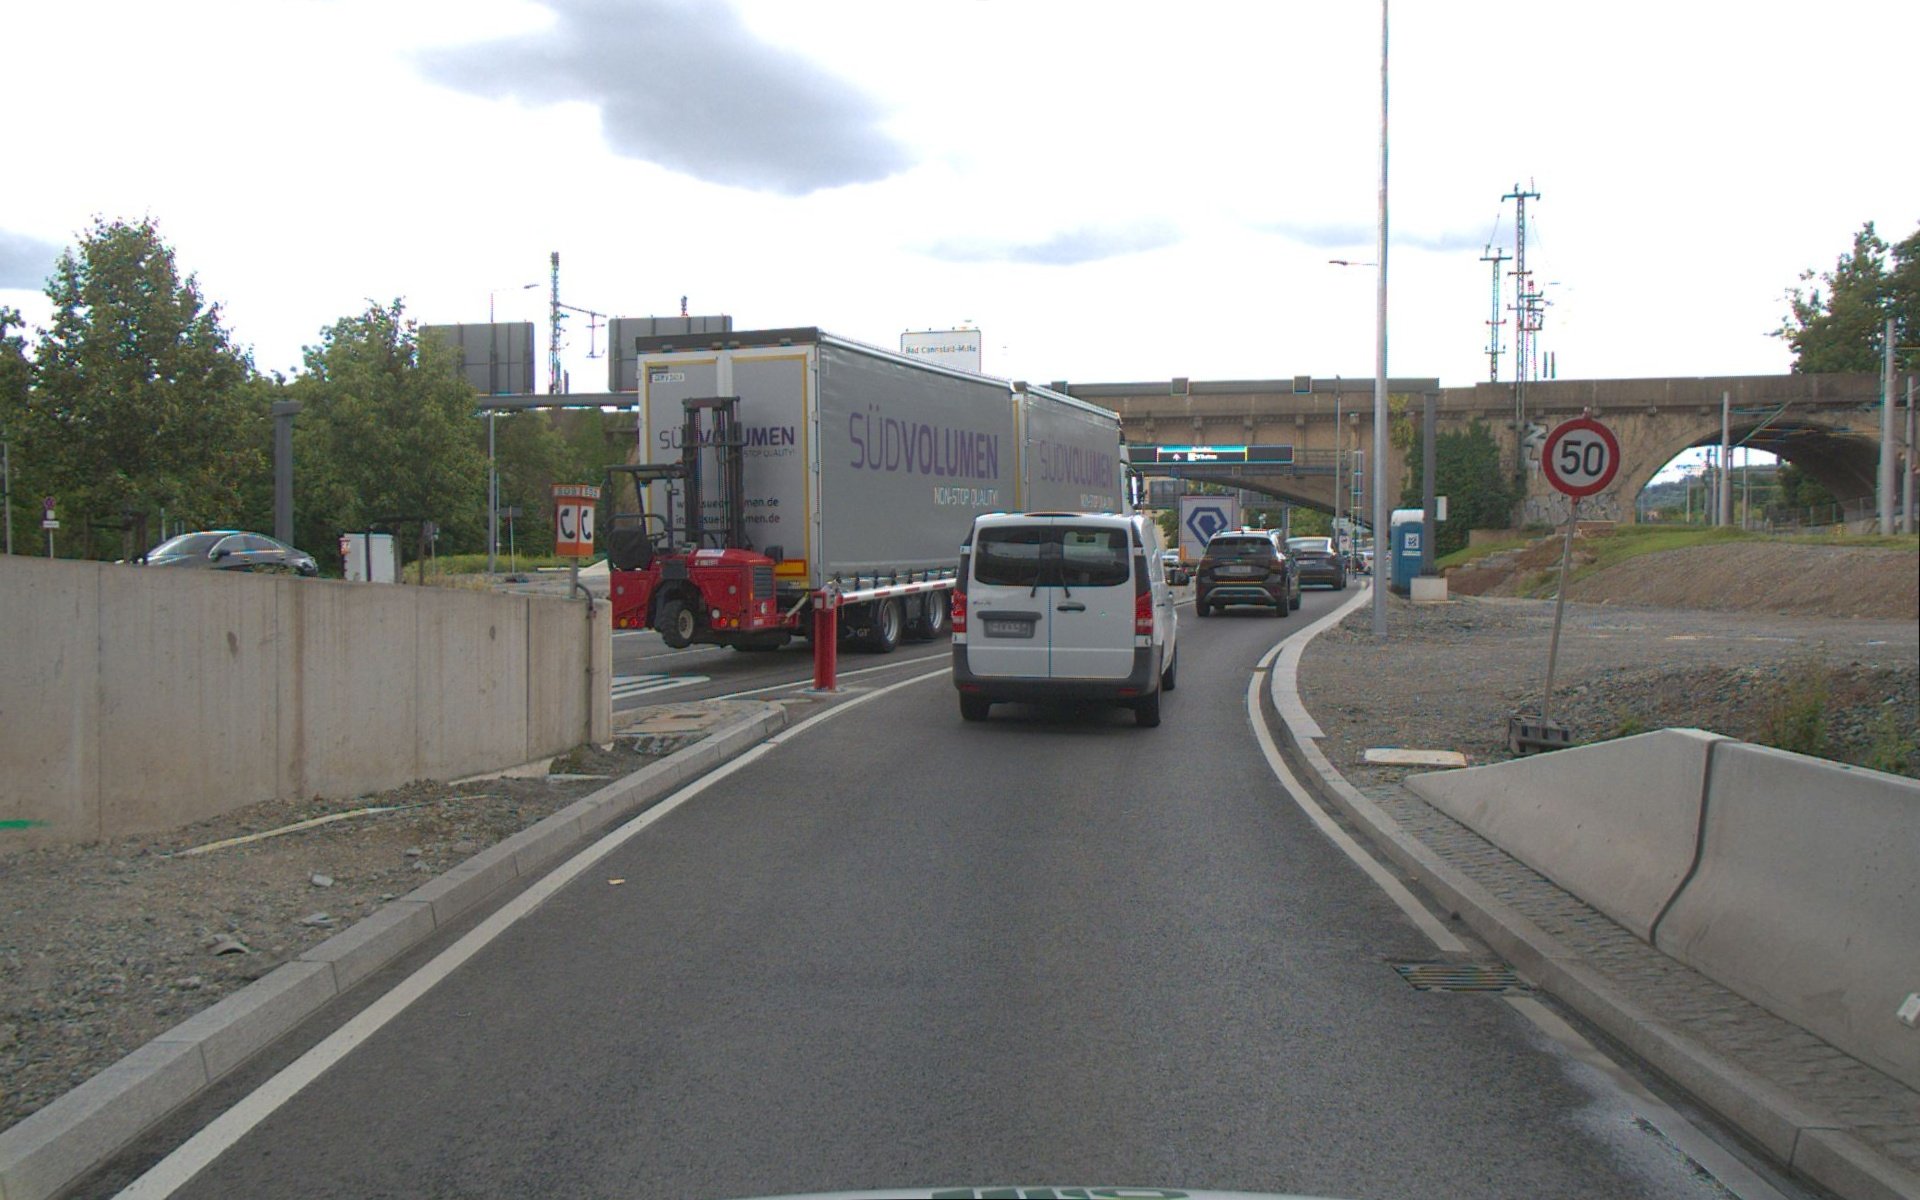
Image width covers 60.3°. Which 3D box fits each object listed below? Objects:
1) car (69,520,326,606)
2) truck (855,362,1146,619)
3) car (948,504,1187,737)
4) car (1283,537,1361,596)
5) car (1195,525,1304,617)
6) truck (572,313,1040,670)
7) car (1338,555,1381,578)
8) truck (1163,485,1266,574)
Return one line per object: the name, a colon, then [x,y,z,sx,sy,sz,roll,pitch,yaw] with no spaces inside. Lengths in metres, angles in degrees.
car: [-14.358,-0.743,31.459,1.751,1.503,4.618,0,2,18]
truck: [1.237,-2.076,33.190,2.924,4.248,11.250,1,3,17]
car: [1.222,0.050,16.398,1.836,1.923,4.759,2,3,10]
car: [9.888,-0.889,45.041,1.470,1.494,3.398,2,1,23]
car: [5.635,-0.571,31.850,1.712,1.653,3.848,0,1,15]
truck: [-1.648,-1.524,24.263,2.857,4.086,10.207,1,3,19]
car: [35.387,-2.993,146.413,1.868,1.840,4.462,2,-1,39]
truck: [12.962,-3.404,82.644,3.246,3.875,16.608,2,2,15]
